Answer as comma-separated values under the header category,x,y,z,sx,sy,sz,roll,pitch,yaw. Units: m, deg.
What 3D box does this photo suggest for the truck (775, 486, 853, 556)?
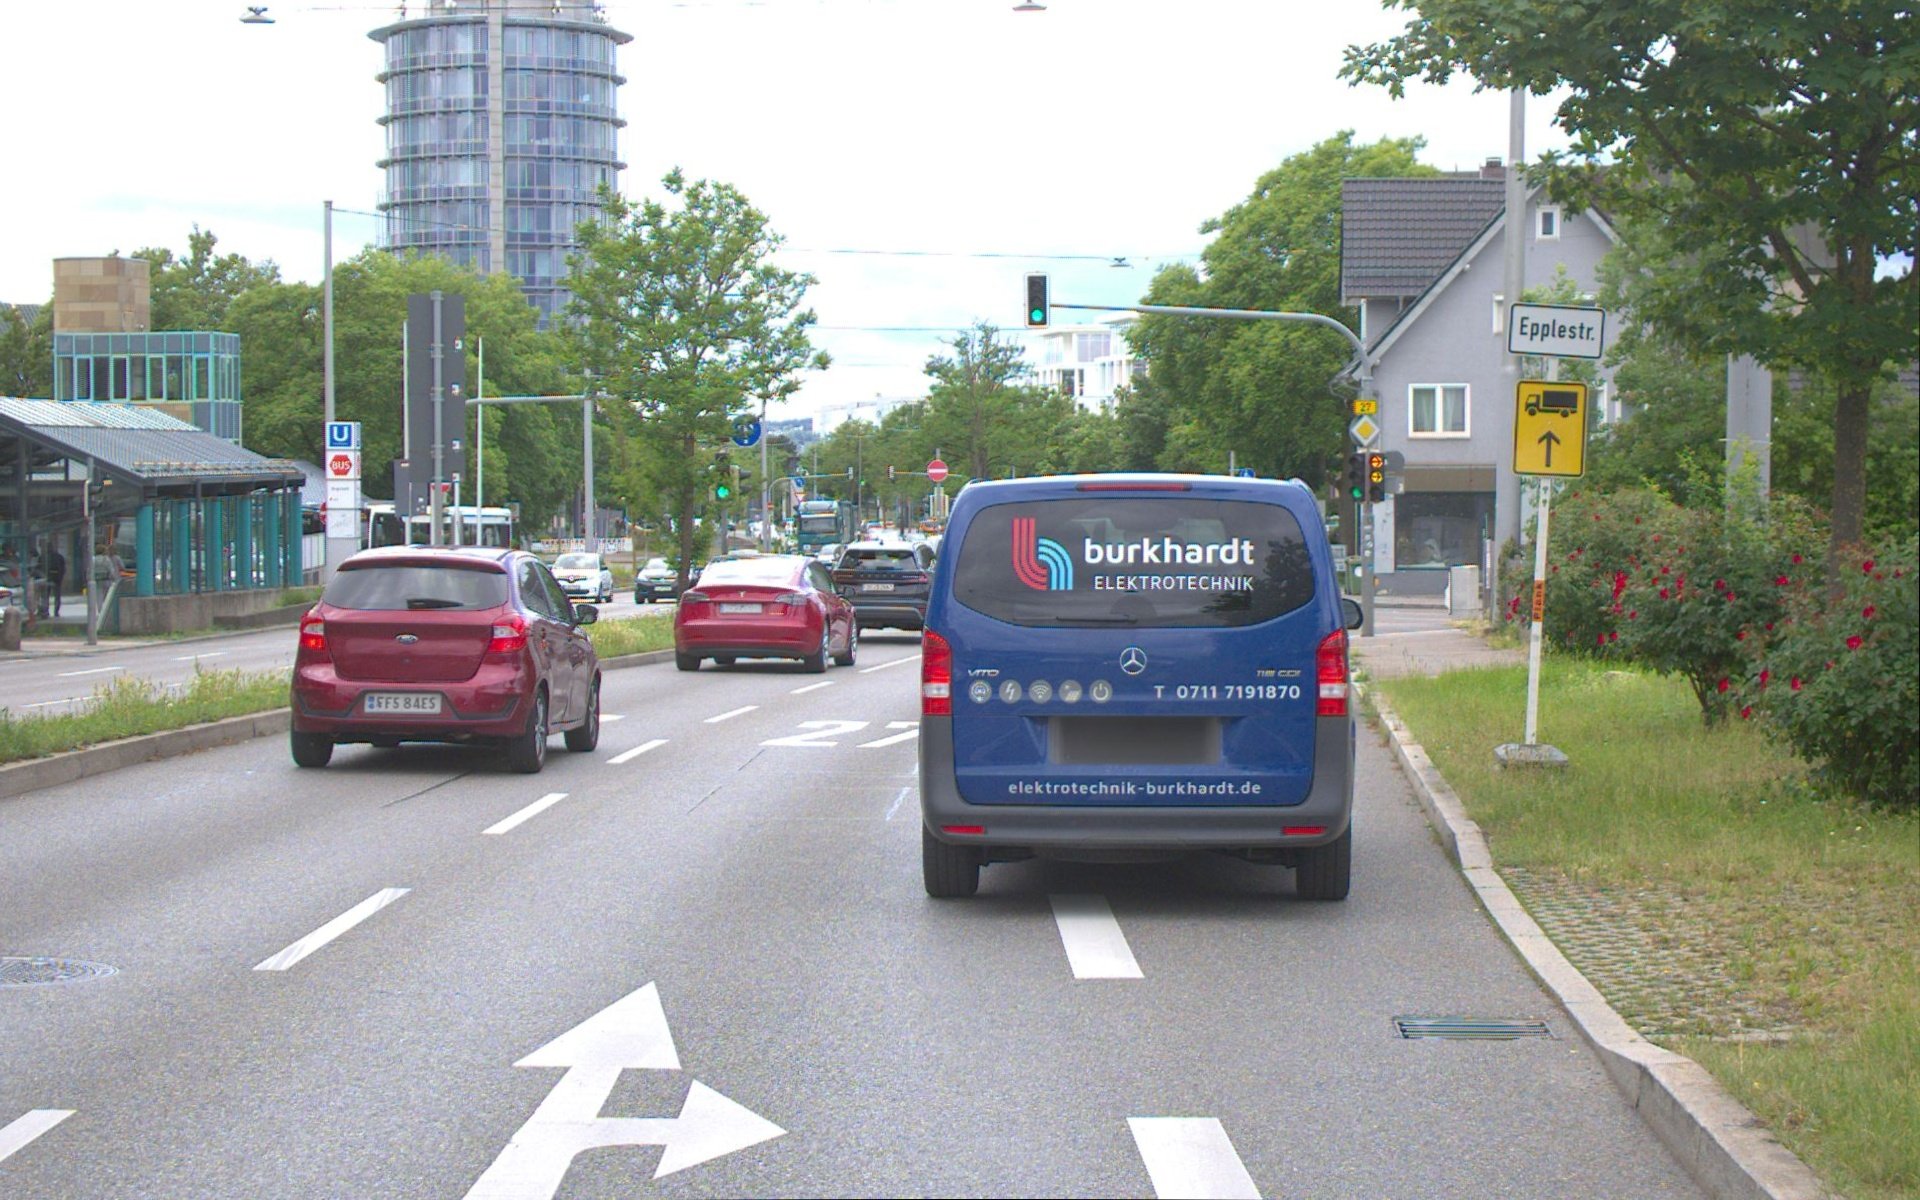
category,x,y,z,sx,sy,sz,roll,pitch,yaw
truck,-8.092,-4.366,191.928,3.368,3.714,11.280,1,1,2

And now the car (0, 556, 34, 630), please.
category,x,y,z,sx,sy,sz,roll,pitch,yaw
car,-19.469,-0.136,63.972,3.986,1.349,2.000,0,1,-2

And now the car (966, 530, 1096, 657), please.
category,x,y,z,sx,sy,sz,roll,pitch,yaw
car,1.029,-0.118,48.490,1.746,1.717,4.000,0,1,2

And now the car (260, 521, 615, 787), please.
category,x,y,z,sx,sy,sz,roll,pitch,yaw
car,-3.611,0.318,24.441,1.746,1.717,4.000,1,1,2

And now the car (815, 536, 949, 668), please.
category,x,y,z,sx,sy,sz,roll,pitch,yaw
car,-1.324,0.002,56.816,1.993,2.006,4.001,1,2,-4

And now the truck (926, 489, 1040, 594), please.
category,x,y,z,sx,sy,sz,roll,pitch,yaw
truck,0.549,-1.290,76.063,1.994,2.158,5.558,2,1,5

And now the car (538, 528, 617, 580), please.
category,x,y,z,sx,sy,sz,roll,pitch,yaw
car,-11.759,-1.415,105.945,1.624,1.568,3.999,0,1,6

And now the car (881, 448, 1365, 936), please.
category,x,y,z,sx,sy,sz,roll,pitch,yaw
car,0.863,0.344,16.318,1.948,1.959,4.541,1,1,5

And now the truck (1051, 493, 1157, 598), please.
category,x,y,z,sx,sy,sz,roll,pitch,yaw
truck,3.208,-1.187,75.599,1.994,2.158,5.558,2,1,5

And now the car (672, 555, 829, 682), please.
category,x,y,z,sx,sy,sz,roll,pitch,yaw
car,-2.643,0.198,43.167,1.868,1.481,4.001,0,1,-4
